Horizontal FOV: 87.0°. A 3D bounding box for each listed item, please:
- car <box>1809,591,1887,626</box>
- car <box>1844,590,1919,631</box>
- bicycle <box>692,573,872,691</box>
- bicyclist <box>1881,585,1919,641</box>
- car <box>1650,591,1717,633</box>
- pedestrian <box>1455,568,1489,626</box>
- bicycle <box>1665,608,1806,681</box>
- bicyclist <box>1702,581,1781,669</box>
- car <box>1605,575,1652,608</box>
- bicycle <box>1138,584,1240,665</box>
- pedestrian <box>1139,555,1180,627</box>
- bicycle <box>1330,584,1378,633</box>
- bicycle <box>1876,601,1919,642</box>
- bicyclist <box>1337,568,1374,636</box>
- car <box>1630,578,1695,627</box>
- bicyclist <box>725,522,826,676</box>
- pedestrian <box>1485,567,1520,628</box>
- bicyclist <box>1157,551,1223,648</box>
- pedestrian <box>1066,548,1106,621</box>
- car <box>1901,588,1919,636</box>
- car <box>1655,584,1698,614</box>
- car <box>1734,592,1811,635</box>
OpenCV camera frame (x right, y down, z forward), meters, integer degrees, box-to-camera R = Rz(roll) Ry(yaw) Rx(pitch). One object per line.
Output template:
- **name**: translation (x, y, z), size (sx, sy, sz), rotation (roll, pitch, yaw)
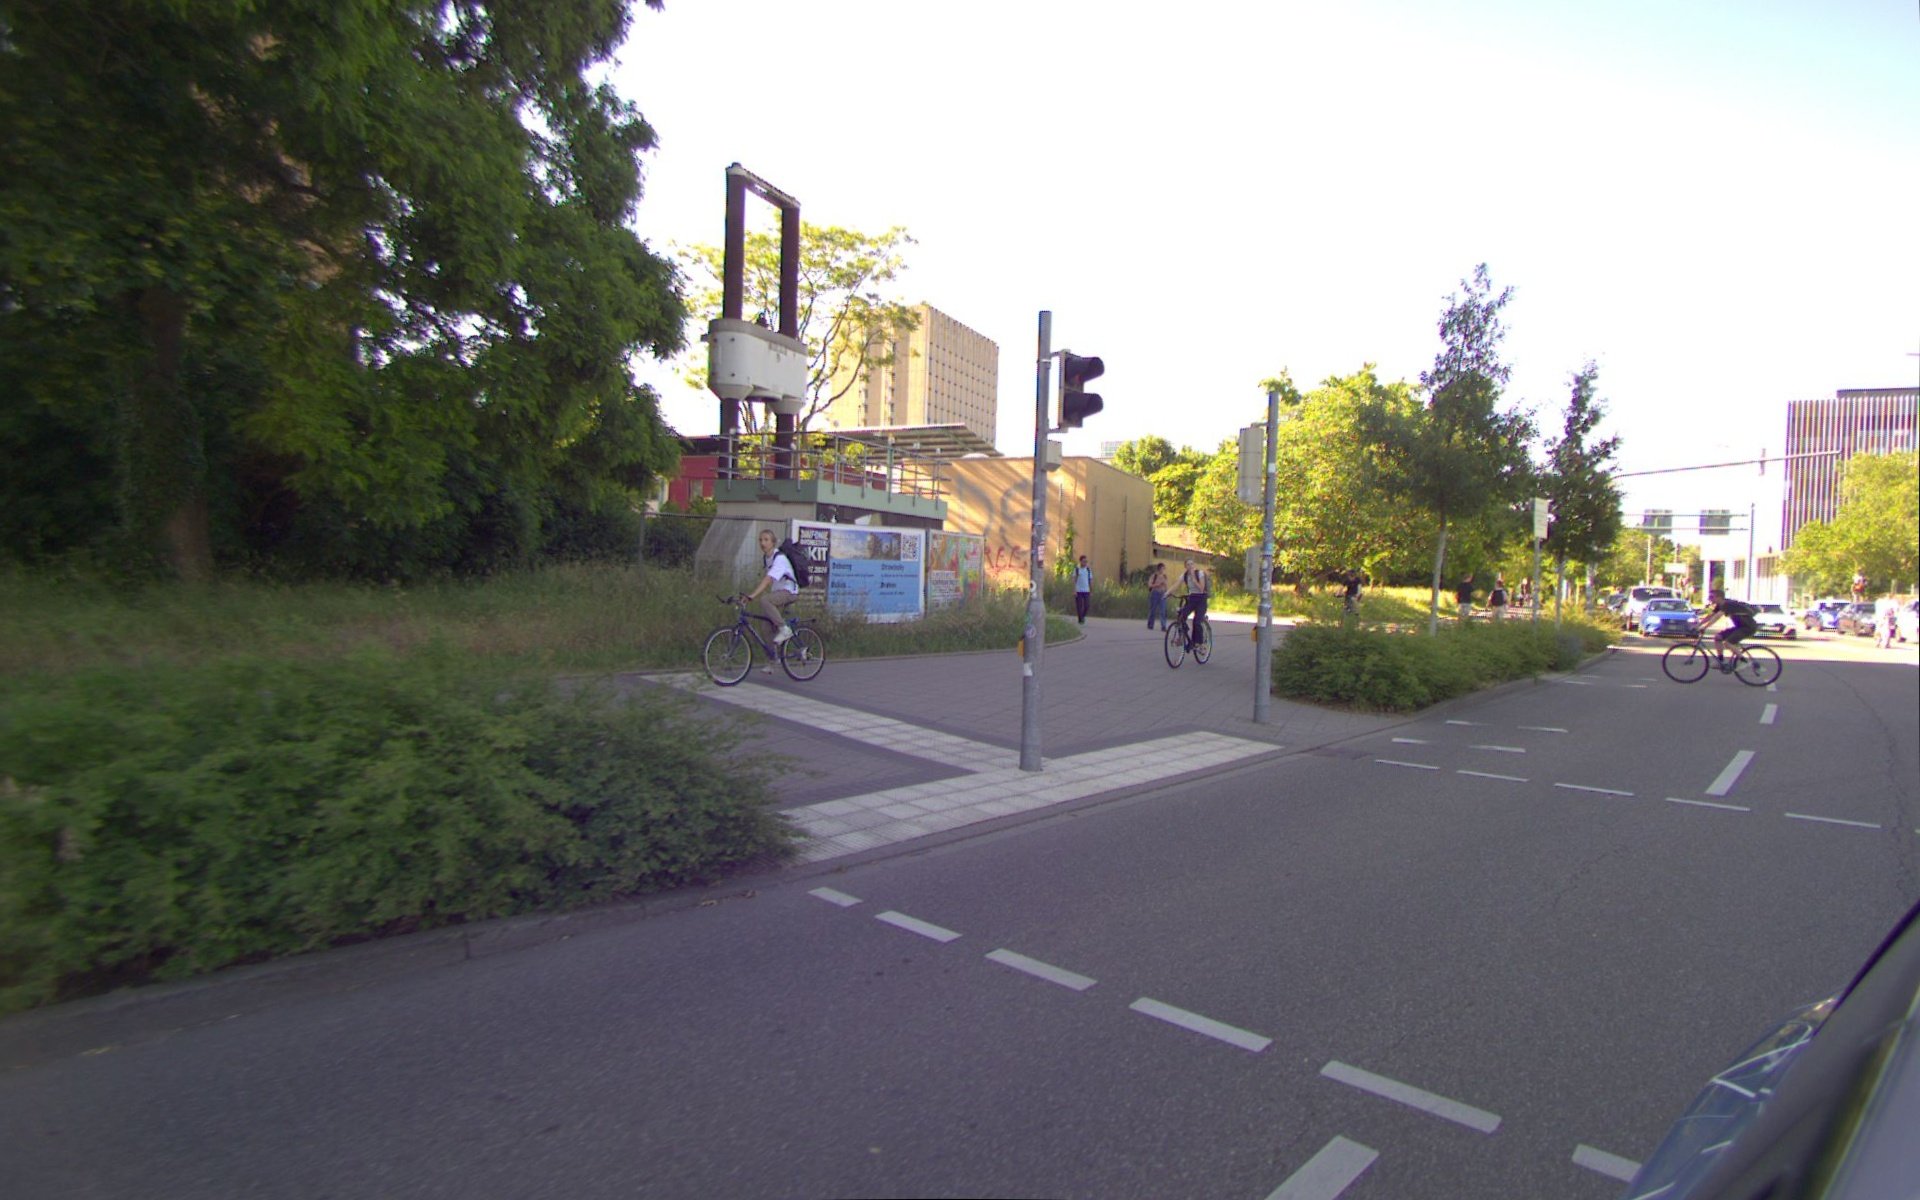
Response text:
- **car**: translation (42.356, 0.360, 48.396), size (1.968, 1.574, 4.672), rotation (1, 1, 31)
- **car**: translation (38.484, 0.403, 41.911), size (1.968, 1.574, 4.672), rotation (1, 1, 31)
- **bicycle**: translation (-1.961, 0.326, 11.374), size (1.925, 1.179, 0.642), rotation (0, 4, -45)
- **bicyclist**: translation (29.715, 0.395, 31.899), size (0.740, 1.705, 0.968), rotation (2, 3, 29)
- **car**: translation (26.975, 0.405, 37.850), size (1.691, 1.460, 3.956), rotation (1, 1, 31)
- **pedestrian**: translation (16.349, -0.081, 32.304), size (0.729, 1.804, 0.724), rotation (2, -1, 45)
- **bicycle**: translation (13.460, 0.753, 17.627), size (1.852, 1.180, 0.637), rotation (1, 0, 28)
- **bicyclist**: translation (13.558, 0.417, 17.582), size (0.944, 1.462, 0.637), rotation (1, 0, 27)
- **car**: translation (41.924, -0.537, 63.551), size (1.921, 1.977, 4.712), rotation (1, 1, 27)
- **bicycle**: translation (3.655, 0.362, 16.071), size (1.840, 1.179, 0.642), rotation (0, 4, -45)
- **pedestrian**: translation (4.751, -0.220, 24.171), size (0.664, 1.664, 0.737), rotation (3, -1, -11)
- **bicycle**: translation (9.889, 0.203, 25.373), size (0.639, 1.179, 1.845), rotation (3, 1, 37)
- **bicycle**: translation (29.753, 0.670, 31.993), size (0.742, 1.179, 1.851), rotation (3, 3, 29)
- **bicyclist**: translation (9.945, 0.042, 25.444), size (0.640, 1.665, 0.766), rotation (3, 1, 37)
- **car**: translation (30.230, 0.091, 43.668), size (1.924, 1.977, 4.705), rotation (1, 1, 31)
- **bicyclist**: translation (-2.049, -0.029, 11.246), size (0.819, 1.614, 0.630), rotation (0, 4, -45)
- **pedestrian**: translation (16.901, -0.074, 31.532), size (0.729, 1.839, 0.724), rotation (2, -1, 45)
- **bicyclist**: translation (3.642, -0.020, 16.025), size (0.764, 1.462, 0.642), rotation (0, 3, -45)
- **pedestrian**: translation (3.000, -0.357, 24.064), size (0.663, 1.664, 0.737), rotation (3, -1, -12)
- **car**: translation (33.798, 0.425, 34.383), size (1.775, 1.645, 4.268), rotation (1, 1, 31)
- **car**: translation (48.403, -0.072, 68.426), size (1.923, 1.977, 4.484), rotation (1, 1, 30)
- **car**: translation (30.731, 0.459, 38.397), size (1.988, 1.487, 3.949), rotation (2, 2, 35)
